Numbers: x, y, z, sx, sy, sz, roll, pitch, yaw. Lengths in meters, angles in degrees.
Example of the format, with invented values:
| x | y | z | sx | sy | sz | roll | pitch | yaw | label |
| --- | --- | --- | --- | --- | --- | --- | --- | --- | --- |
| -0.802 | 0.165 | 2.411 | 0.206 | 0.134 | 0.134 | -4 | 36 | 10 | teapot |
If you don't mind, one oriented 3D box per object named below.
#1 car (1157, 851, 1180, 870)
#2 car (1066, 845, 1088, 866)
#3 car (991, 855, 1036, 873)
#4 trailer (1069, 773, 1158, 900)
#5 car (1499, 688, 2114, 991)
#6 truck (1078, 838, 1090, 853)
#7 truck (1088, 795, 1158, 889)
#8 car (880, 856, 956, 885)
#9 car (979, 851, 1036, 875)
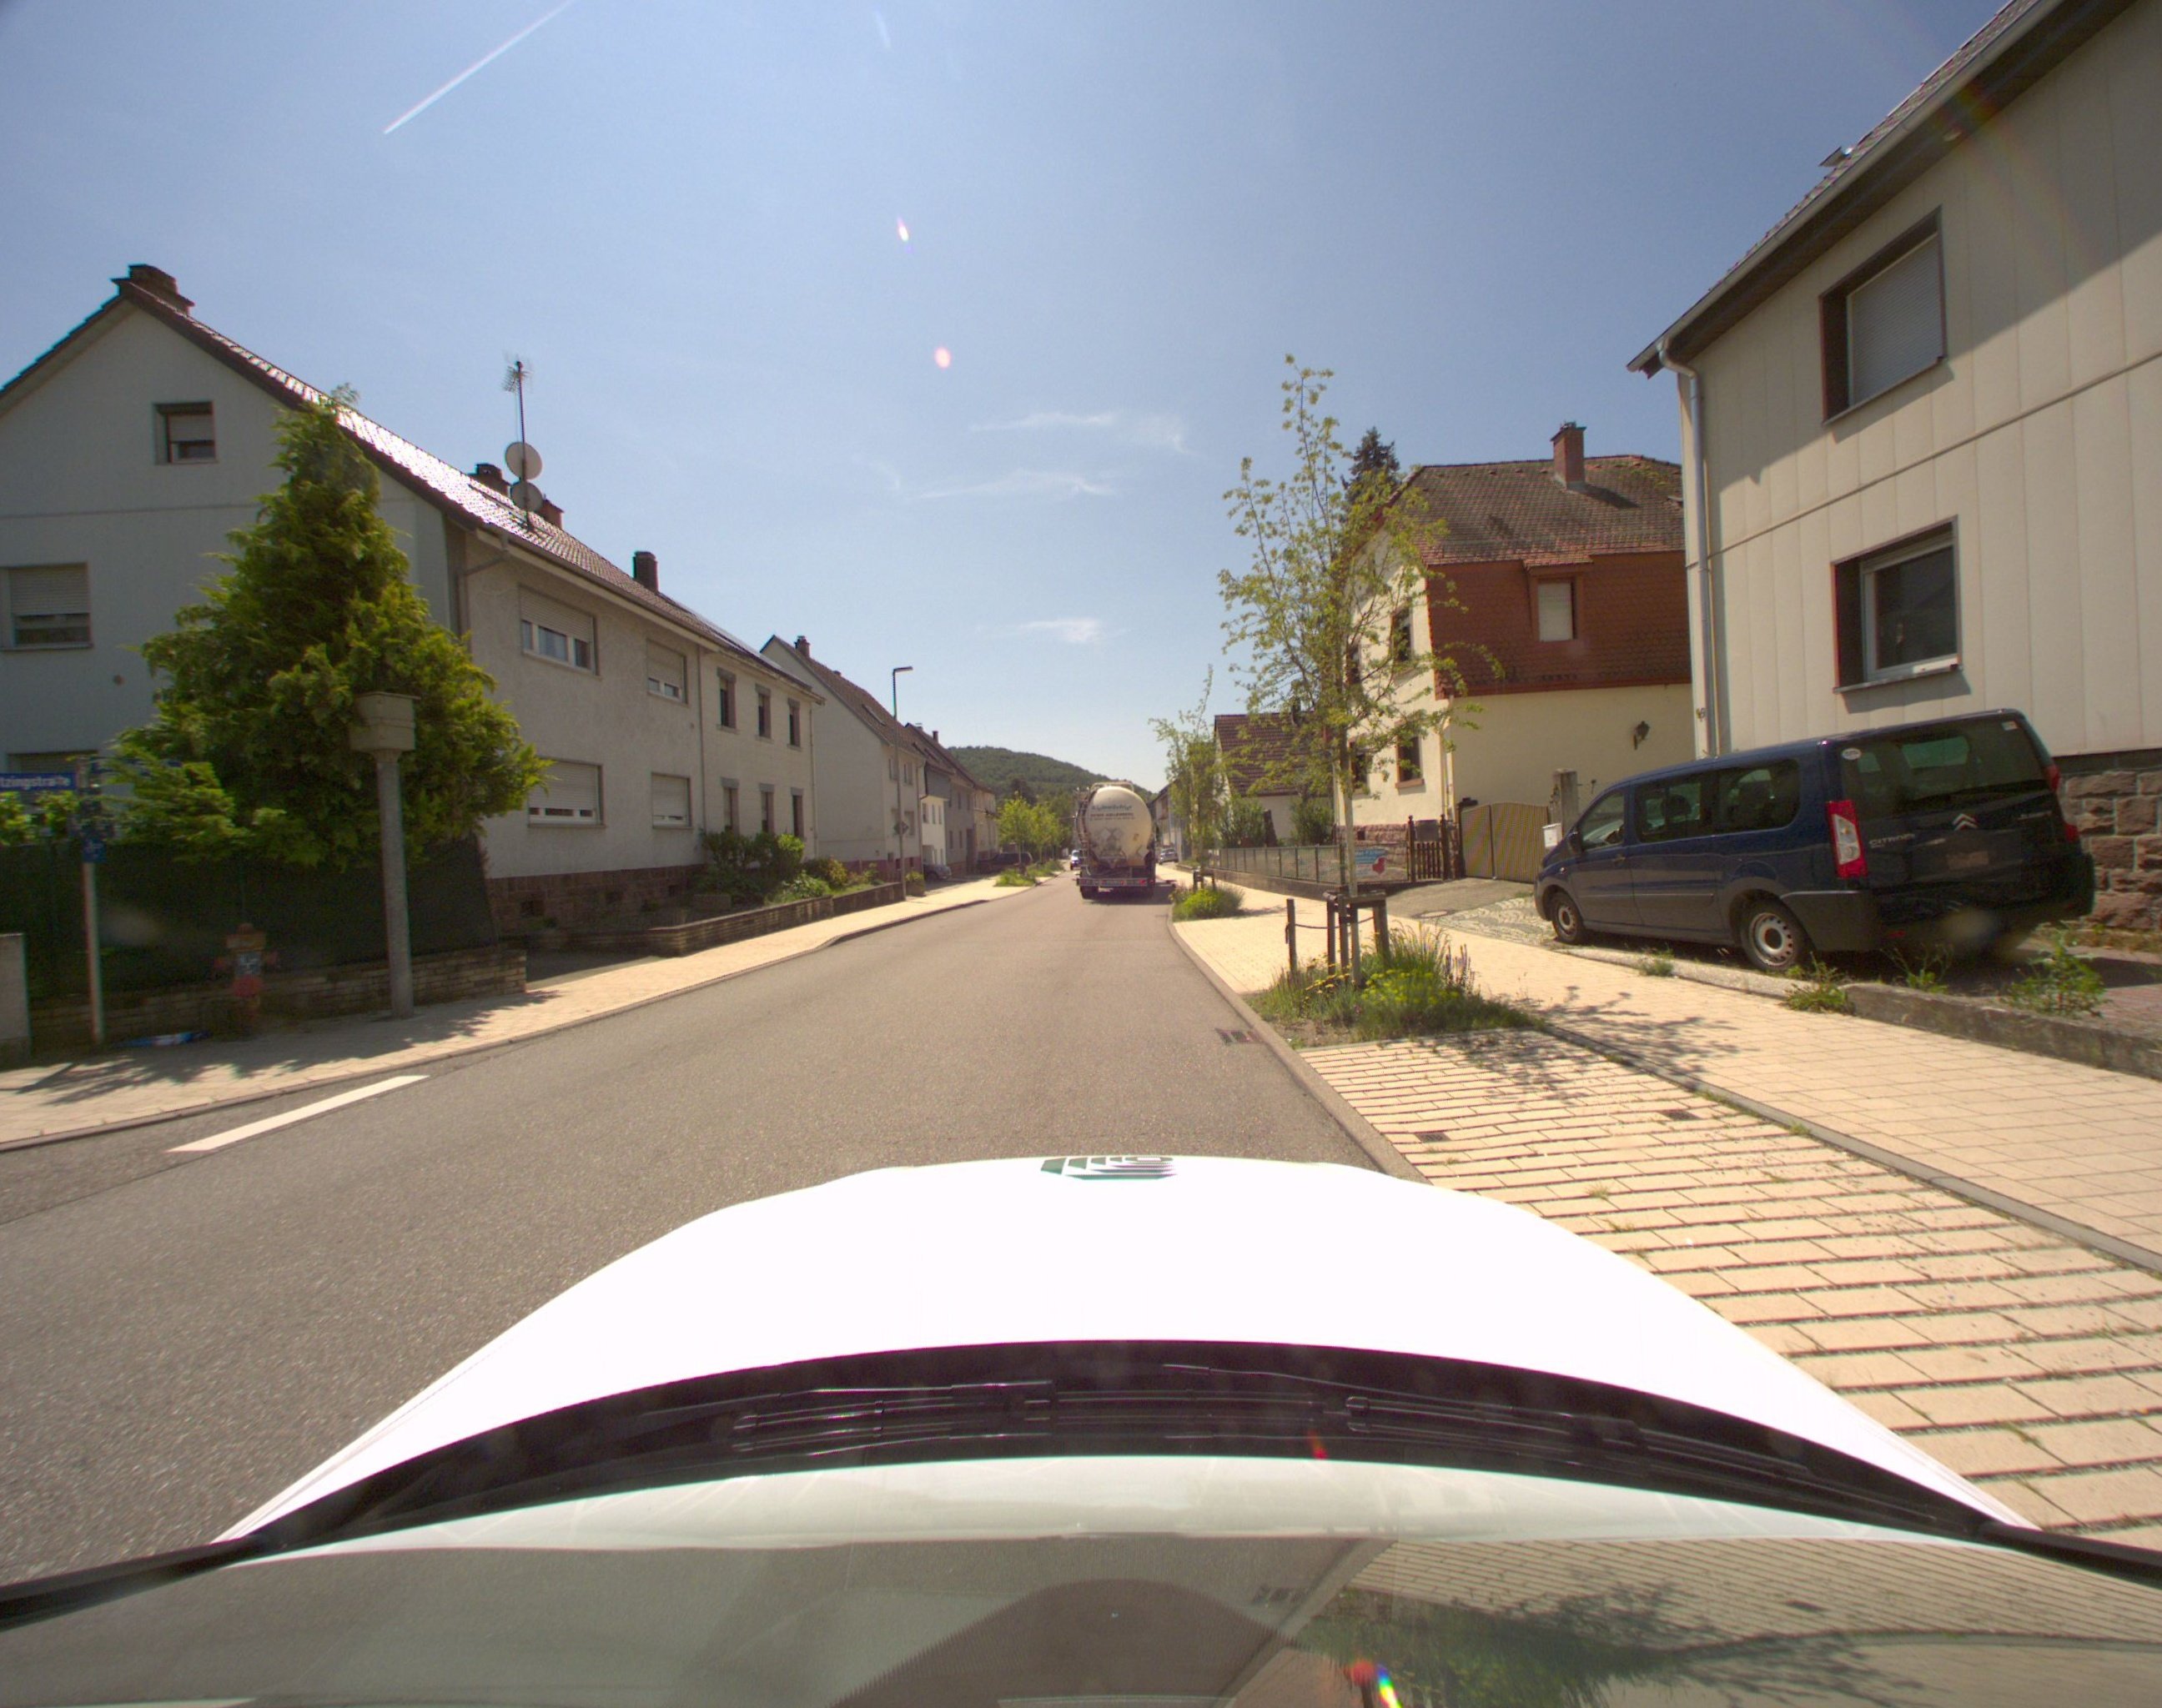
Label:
| x | y | z | sx | sy | sz | roll | pitch | yaw | label |
| --- | --- | --- | --- | --- | --- | --- | --- | --- | --- |
| 8.204 | 0.575 | 76.576 | 1.783 | 1.541 | 4.523 | -5 | 0 | 3 | car |
| -0.326 | 0.150 | 76.766 | 1.882 | 1.861 | 4.579 | 0 | 0 | 1 | car |
| -5.840 | 0.871 | 70.515 | 3.505 | 1.439 | 1.710 | -2 | 0 | 35 | car |
| 1.456 | -0.545 | 31.052 | 2.783 | 4.001 | 10.337 | -1 | 0 | 5 | trailer |
| 6.422 | -0.097 | 8.226 | 1.846 | 1.971 | 4.774 | -6 | 0 | 1 | car |
| 0.771 | -1.964 | 192.931 | 2.719 | 3.371 | 8.636 | -1 | 0 | 1 | truck |
| 2.045 | -0.511 | 37.527 | 2.794 | 3.937 | 6.110 | -1 | 0 | 6 | truck |
| -9.506 | 0.938 | 47.665 | 3.972 | 1.545 | 1.833 | -2 | 0 | 1 | car |
| -5.937 | 0.710 | 66.357 | 4.380 | 1.750 | 1.878 | -2 | 0 | 0 | car |
